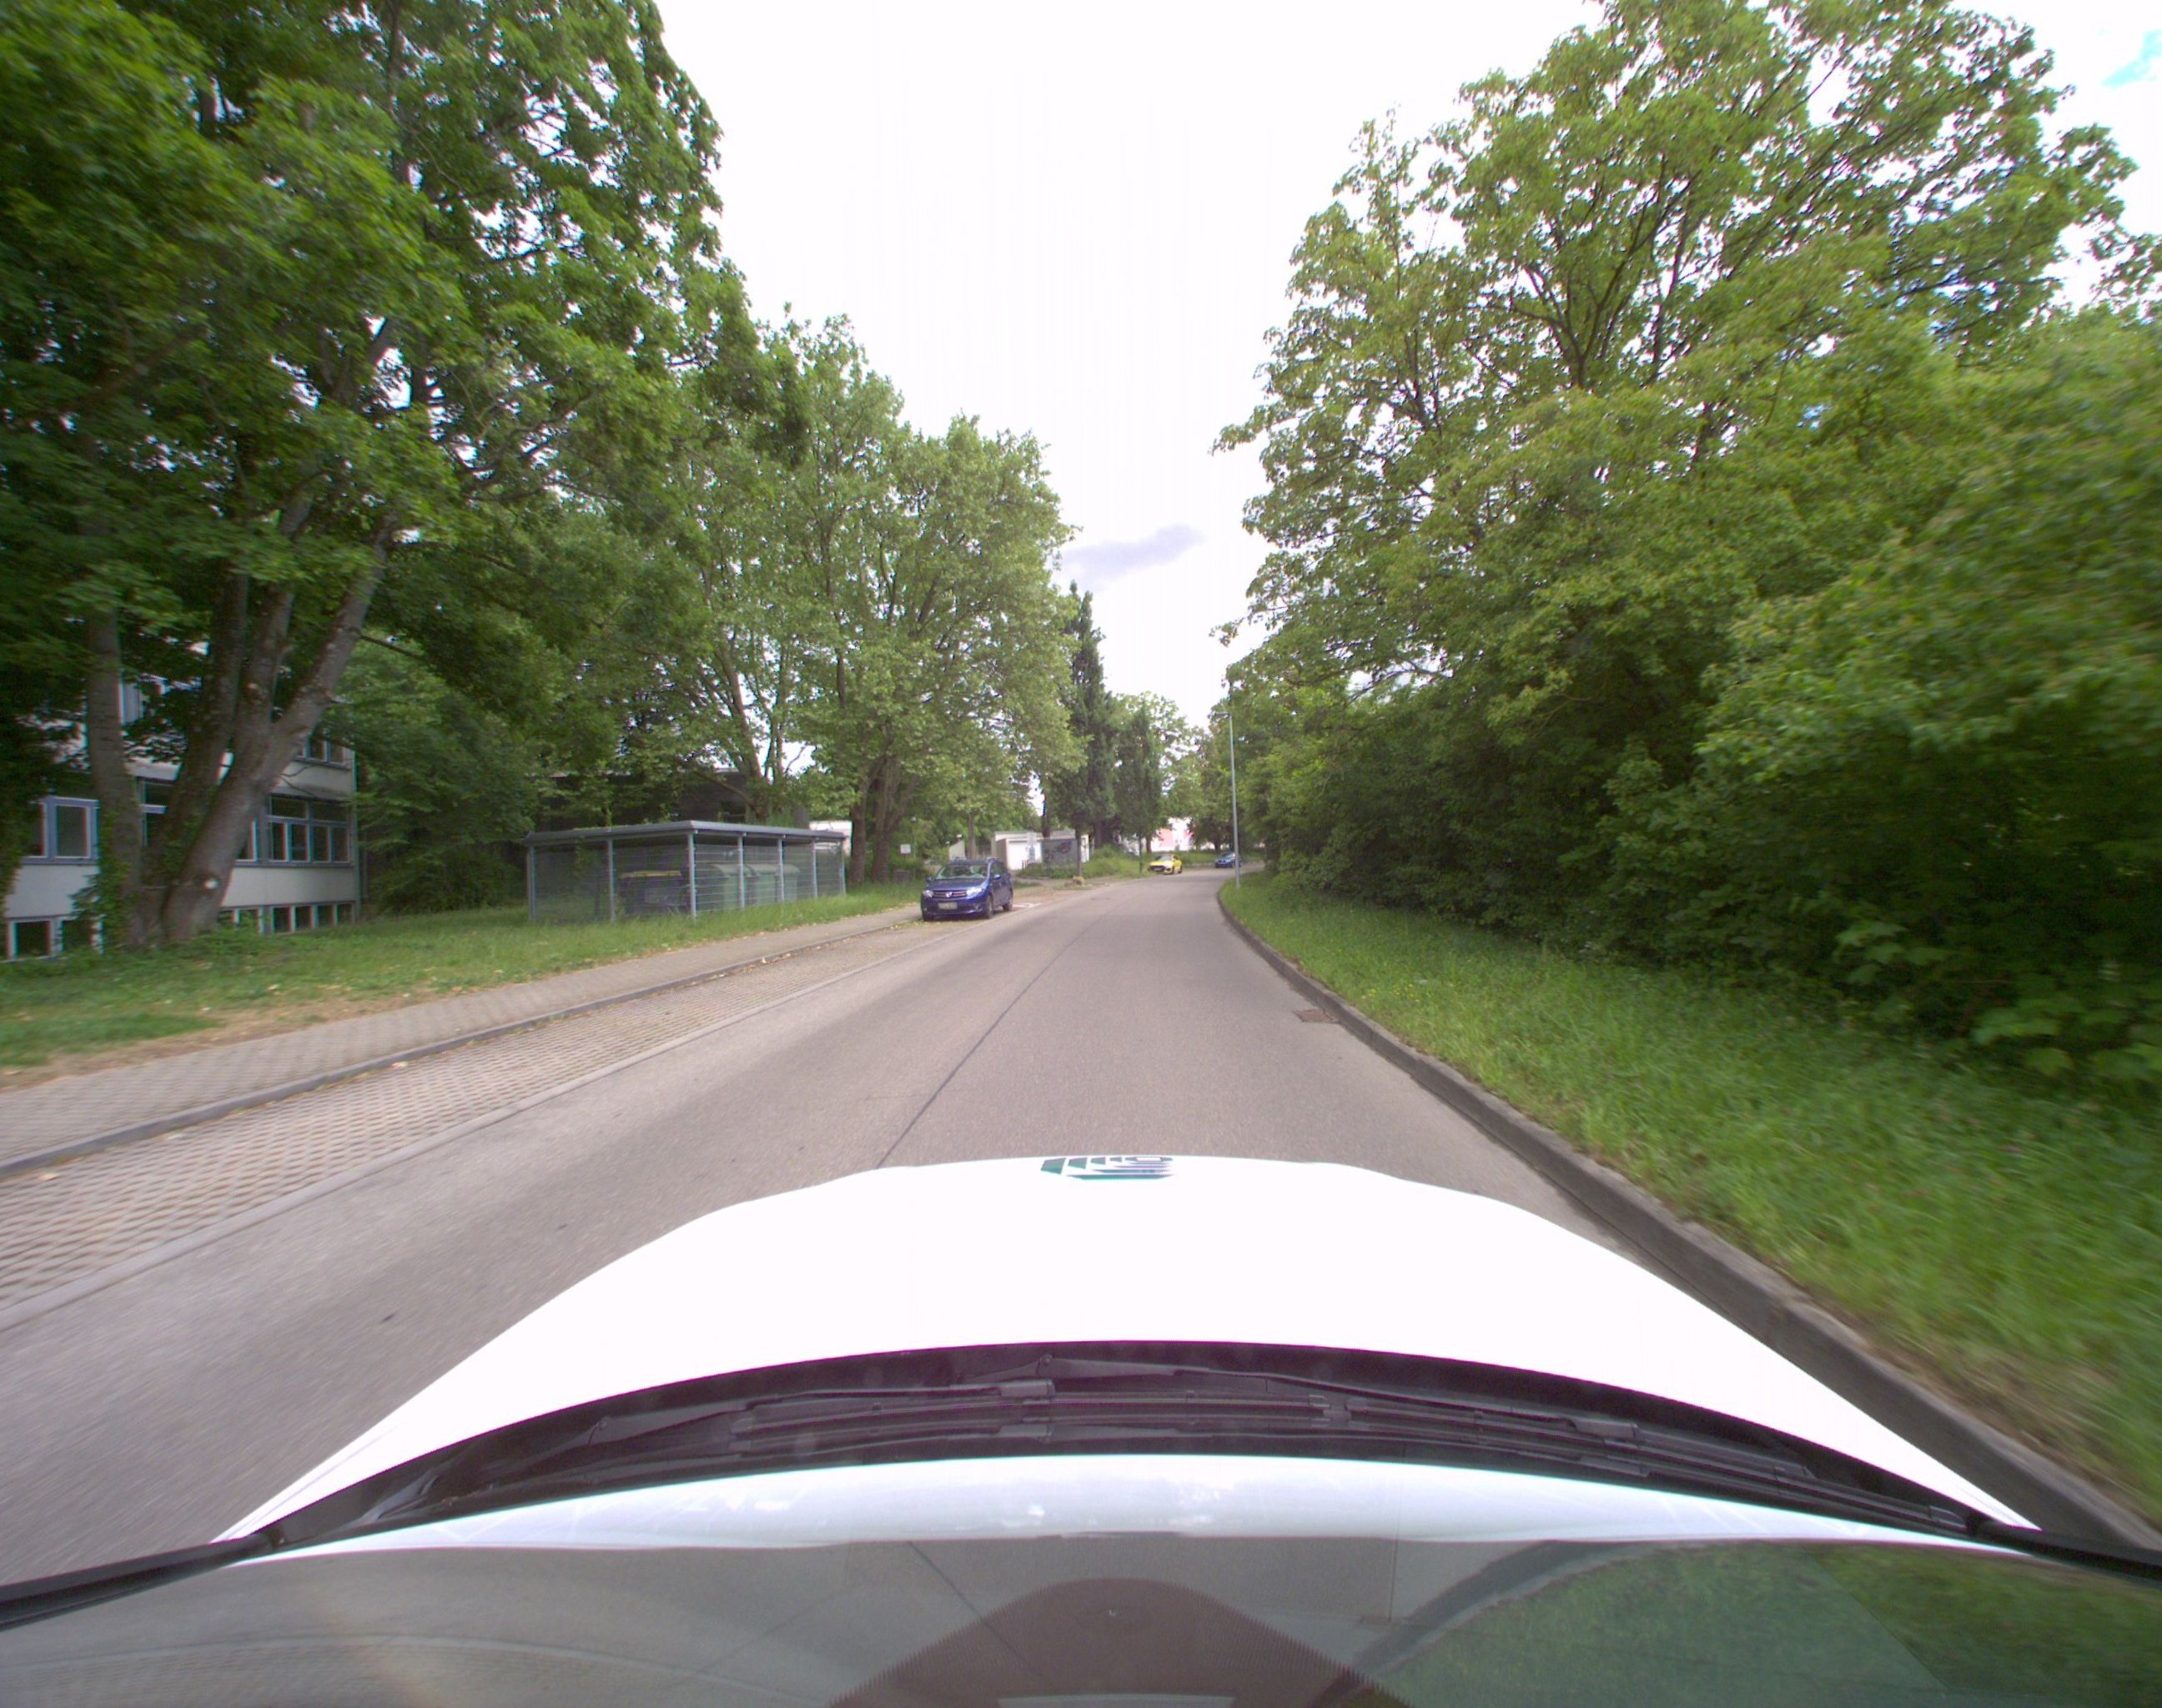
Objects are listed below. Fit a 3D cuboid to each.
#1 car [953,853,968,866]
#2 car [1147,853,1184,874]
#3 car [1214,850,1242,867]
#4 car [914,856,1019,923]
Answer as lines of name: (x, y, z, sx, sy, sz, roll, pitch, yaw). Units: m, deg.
car: (-17.470, 0.838, 118.461, 1.870, 1.746, 3.992, -3, 0, -6)
car: (6.162, 0.651, 58.990, 1.686, 1.403, 4.294, -1, 0, 19)
car: (13.597, 0.427, 75.350, 1.519, 1.459, 3.742, -2, 0, 27)
car: (-2.913, 0.859, 21.673, 1.671, 1.511, 4.439, -2, 0, 6)
